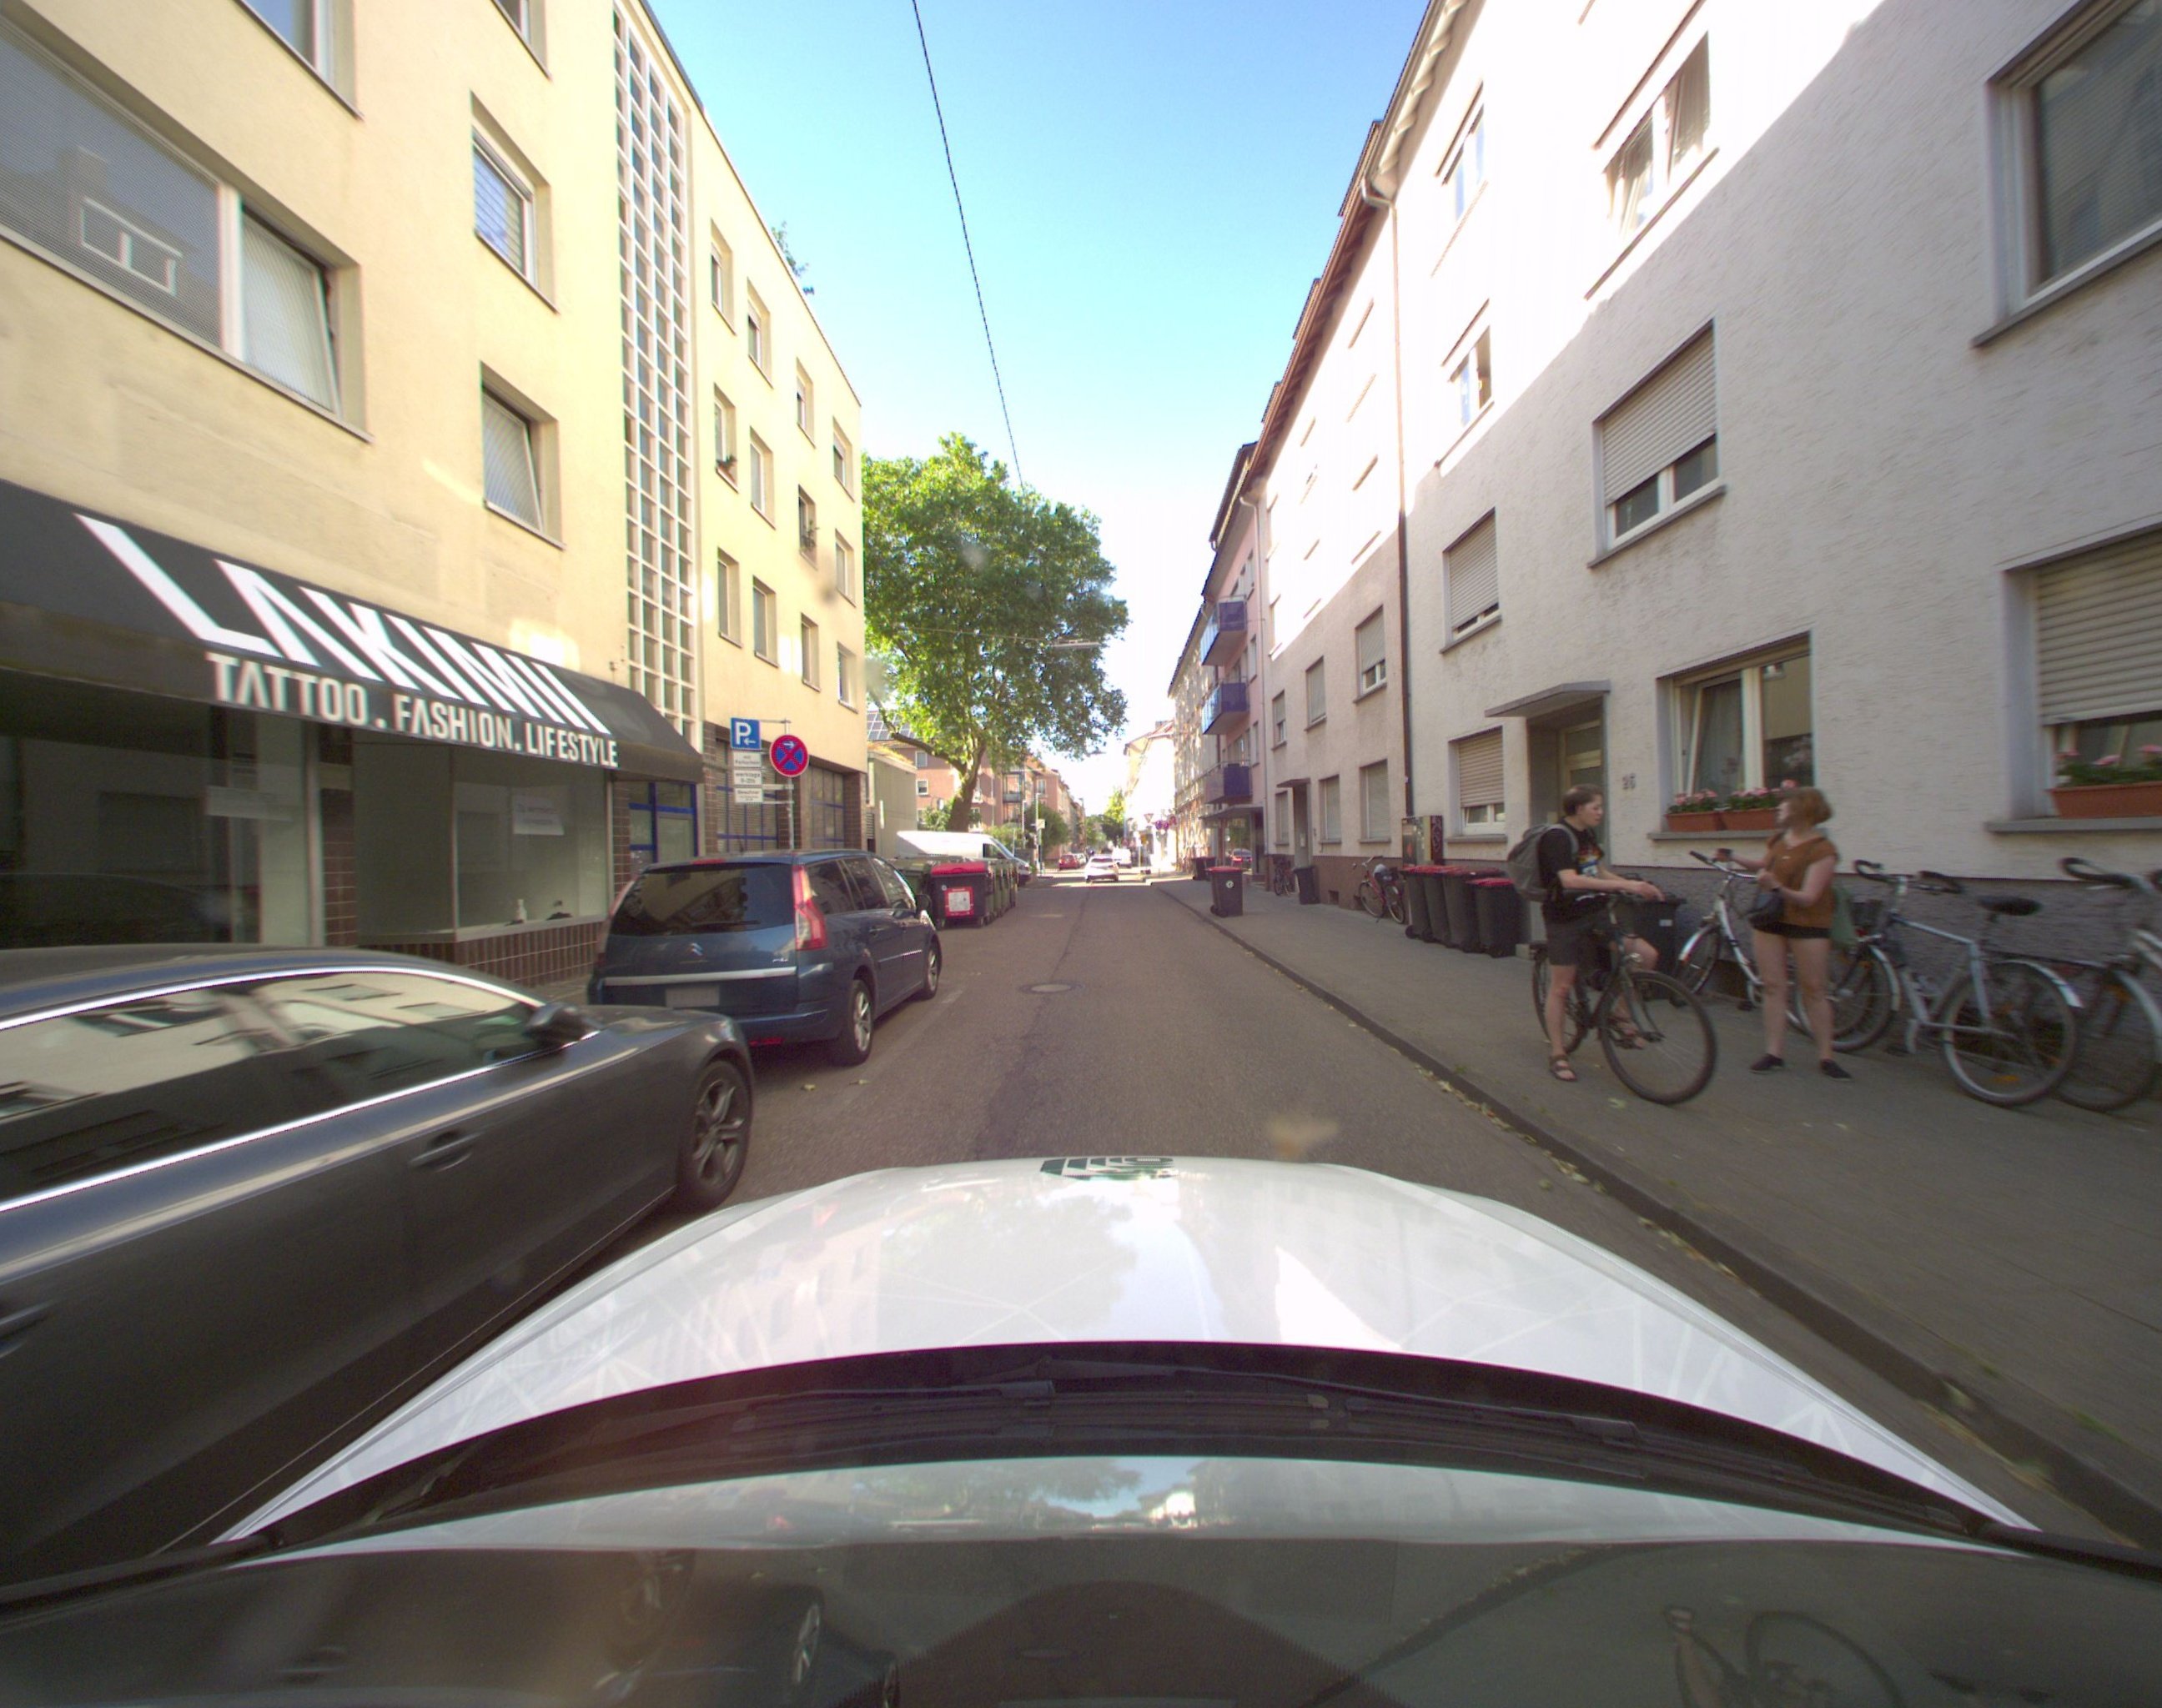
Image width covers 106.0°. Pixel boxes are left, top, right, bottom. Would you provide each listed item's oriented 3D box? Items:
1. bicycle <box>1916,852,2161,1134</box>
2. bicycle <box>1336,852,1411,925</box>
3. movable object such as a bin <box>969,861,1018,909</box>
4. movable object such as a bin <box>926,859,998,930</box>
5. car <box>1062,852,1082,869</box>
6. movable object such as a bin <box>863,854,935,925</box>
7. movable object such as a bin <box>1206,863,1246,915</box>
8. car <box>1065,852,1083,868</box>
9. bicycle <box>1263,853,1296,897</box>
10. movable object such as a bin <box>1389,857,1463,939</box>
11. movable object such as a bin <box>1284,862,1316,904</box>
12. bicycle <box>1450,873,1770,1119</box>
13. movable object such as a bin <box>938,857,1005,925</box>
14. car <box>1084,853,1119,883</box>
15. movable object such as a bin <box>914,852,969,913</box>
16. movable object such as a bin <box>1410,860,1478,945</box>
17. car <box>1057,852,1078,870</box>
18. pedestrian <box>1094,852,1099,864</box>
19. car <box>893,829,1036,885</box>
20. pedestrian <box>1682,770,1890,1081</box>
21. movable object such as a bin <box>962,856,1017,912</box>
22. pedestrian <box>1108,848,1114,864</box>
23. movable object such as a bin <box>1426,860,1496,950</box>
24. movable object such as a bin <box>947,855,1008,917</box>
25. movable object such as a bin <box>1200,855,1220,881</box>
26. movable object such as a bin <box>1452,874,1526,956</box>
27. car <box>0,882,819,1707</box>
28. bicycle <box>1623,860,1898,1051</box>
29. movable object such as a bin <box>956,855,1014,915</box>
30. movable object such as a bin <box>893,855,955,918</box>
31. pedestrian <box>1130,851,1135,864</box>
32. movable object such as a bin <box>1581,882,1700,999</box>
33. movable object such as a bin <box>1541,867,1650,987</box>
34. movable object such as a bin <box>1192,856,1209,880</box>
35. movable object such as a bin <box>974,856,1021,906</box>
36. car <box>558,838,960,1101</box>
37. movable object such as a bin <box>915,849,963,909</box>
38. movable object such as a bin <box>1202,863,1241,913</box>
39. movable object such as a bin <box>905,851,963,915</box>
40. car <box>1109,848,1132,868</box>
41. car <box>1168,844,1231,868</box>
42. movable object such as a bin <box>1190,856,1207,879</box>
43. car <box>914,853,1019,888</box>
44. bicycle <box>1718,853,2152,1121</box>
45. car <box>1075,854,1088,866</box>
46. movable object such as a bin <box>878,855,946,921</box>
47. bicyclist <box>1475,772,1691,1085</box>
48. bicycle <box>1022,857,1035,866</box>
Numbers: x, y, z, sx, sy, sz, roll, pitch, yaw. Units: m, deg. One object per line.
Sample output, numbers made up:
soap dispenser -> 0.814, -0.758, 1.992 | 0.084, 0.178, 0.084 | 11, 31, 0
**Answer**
bicycle -> 4.824, 0.595, 3.482 | 0.403, 1.206, 2.162 | -2, -1, 5
bicycle -> 5.171, 0.567, 14.522 | 0.535, 1.170, 2.077 | -6, 0, 1
movable object such as a bin -> -2.495, 0.876, 23.411 | 1.236, 1.322, 1.046 | -1, -1, 1
movable object such as a bin -> -2.602, 0.864, 17.997 | 1.315, 1.450, 1.187 | -3, -1, 1
car -> -0.905, 0.626, 83.013 | 1.713, 1.682, 3.728 | -2, 0, 2
movable object such as a bin -> -4.002, 0.772, 18.027 | 1.292, 1.498, 1.179 | -1, -1, 1
movable object such as a bin -> 3.155, 0.749, 17.753 | 0.729, 1.081, 0.704 | -2, -1, 2
car -> -0.747, 0.643, 88.527 | 1.629, 1.656, 3.787 | -2, -1, 2
bicycle -> 5.375, 0.547, 22.141 | 0.451, 1.134, 1.921 | -4, 0, 3
movable object such as a bin -> 4.950, 0.626, 11.730 | 0.736, 1.097, 0.640 | -4, -1, 2
movable object such as a bin -> 5.212, 0.682, 19.402 | 0.595, 0.951, 0.682 | -2, -1, 2
bicycle -> 3.162, 0.749, 5.166 | 0.661, 1.136, 1.988 | -4, 1, 0
movable object such as a bin -> -2.565, 0.851, 19.171 | 1.329, 1.484, 1.094 | -3, -1, 1
car -> 1.121, 0.733, 45.136 | 1.817, 1.514, 3.824 | -2, 0, 1
movable object such as a bin -> -3.809, 0.766, 22.328 | 1.284, 1.604, 1.082 | -1, -1, 1
movable object such as a bin -> 4.947, 0.645, 11.135 | 0.654, 1.105, 0.593 | -2, 0, 2
car -> -1.257, 0.672, 77.417 | 1.763, 1.589, 3.727 | -2, 1, 1
pedestrian -> 2.263, 0.611, 120.179 | 0.645, 1.797, 0.639 | -2, -1, 2
car -> -5.755, 0.156, 40.724 | 6.711, 2.555, 2.147 | 2, -1, 3
pedestrian -> 4.175, 0.401, 4.887 | 0.650, 1.711, 0.689 | -2, -1, 13
movable object such as a bin -> -2.481, 0.812, 22.320 | 1.329, 1.491, 1.082 | -1, -1, 1
pedestrian -> 4.028, 0.279, 110.548 | 0.768, 2.118, 0.835 | -2, -1, 2
movable object such as a bin -> 4.917, 0.646, 10.574 | 0.625, 1.122, 0.569 | -2, -1, 2
movable object such as a bin -> -2.544, 0.785, 20.216 | 1.343, 1.487, 1.003 | -1, -1, 1
movable object such as a bin -> 5.687, 0.622, 35.952 | 0.727, 1.104, 0.693 | -2, -1, -1
movable object such as a bin -> 4.965, 0.728, 9.938 | 0.603, 0.934, 0.605 | -2, 0, 2
car -> -2.563, 0.897, 2.369 | 1.838, 1.417, 4.819 | -3, -1, 2
bicycle -> 4.765, 0.631, 5.909 | 0.566, 1.153, 1.871 | -2, -1, 6
movable object such as a bin -> -2.495, 0.795, 21.252 | 1.338, 1.499, 1.018 | -1, -1, 1
movable object such as a bin -> -3.878, 0.791, 20.262 | 1.297, 1.522, 1.018 | -1, -1, 1
pedestrian -> 6.864, 0.437, 108.320 | 0.615, 1.733, 0.560 | -2, -1, 0
movable object such as a bin -> 4.907, 0.740, 7.175 | 0.575, 0.924, 0.608 | -4, 0, 1
movable object such as a bin -> 4.899, 0.676, 7.785 | 0.614, 1.062, 0.603 | -3, 0, 1
movable object such as a bin -> 5.538, 0.634, 37.901 | 0.698, 1.073, 0.597 | -2, -1, 3
movable object such as a bin -> -2.495, 0.796, 24.512 | 1.297, 1.451, 1.116 | -1, -1, -2
car -> -2.492, 0.763, 7.753 | 1.776, 1.666, 4.672 | -3, 0, 2
movable object such as a bin -> -4.097, 0.710, 23.603 | 1.225, 1.653, 1.172 | -1, -1, -5
movable object such as a bin -> 3.169, 0.763, 18.467 | 0.765, 1.086, 0.693 | -2, -1, 2
movable object such as a bin -> -3.823, 0.748, 21.264 | 1.290, 1.620, 1.018 | -1, -1, 1
car -> 3.885, 0.379, 80.544 | 1.937, 1.948, 4.076 | -1, 0, -1
car -> 10.025, 0.225, 69.106 | 4.844, 1.929, 2.011 | -1, -2, 26
movable object such as a bin -> 5.557, 0.633, 38.533 | 0.742, 1.086, 0.635 | -2, -1, 3
car -> -5.268, 0.756, 37.911 | 4.482, 1.470, 1.930 | 2, 0, 2
bicycle -> 4.744, 0.611, 4.820 | 0.435, 1.206, 2.271 | -2, -1, 8
car -> 0.091, 0.771, 109.628 | 1.566, 1.585, 3.613 | -2, -1, 2
movable object such as a bin -> -3.960, 0.781, 19.185 | 1.301, 1.499, 1.157 | -1, -1, 1
bicyclist -> 3.111, 0.425, 5.134 | 0.758, 1.770, 0.822 | -4, 1, -1
bicycle -> -5.740, 0.861, 88.790 | 0.607, 0.932, 1.896 | -1, -1, -31
